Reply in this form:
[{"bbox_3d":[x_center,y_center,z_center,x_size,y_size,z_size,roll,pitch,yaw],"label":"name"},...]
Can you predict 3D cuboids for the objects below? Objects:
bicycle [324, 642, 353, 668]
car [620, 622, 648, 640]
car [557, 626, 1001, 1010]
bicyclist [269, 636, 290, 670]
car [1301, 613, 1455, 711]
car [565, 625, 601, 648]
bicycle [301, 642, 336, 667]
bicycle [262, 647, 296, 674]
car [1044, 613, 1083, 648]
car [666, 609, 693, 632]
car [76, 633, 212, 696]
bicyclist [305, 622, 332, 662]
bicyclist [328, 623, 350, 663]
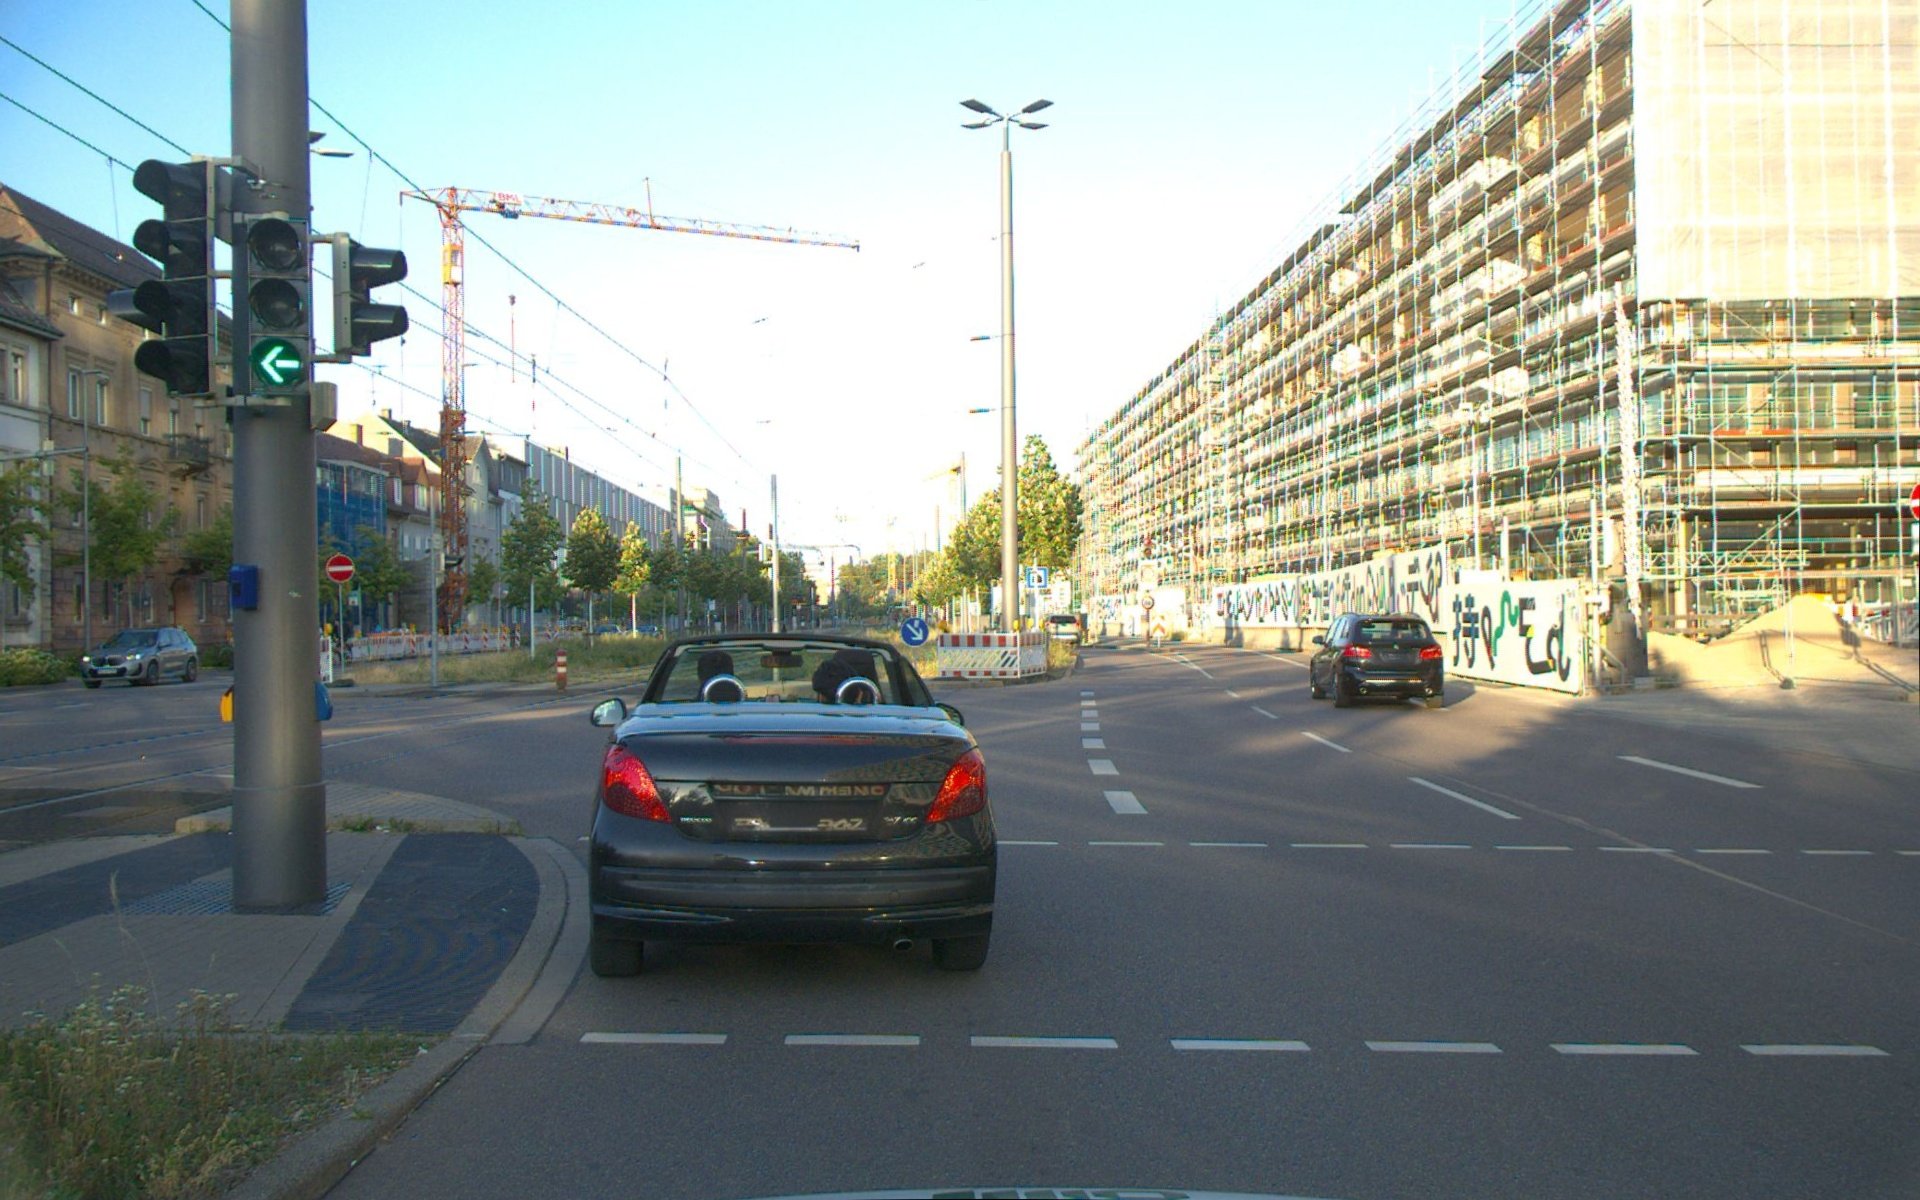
[{"bbox_3d":[-24.774,2.187,65.935,0.578,0.992,1.555,1,0,-1],"label":"bicycle"},{"bbox_3d":[-28.275,2.702,143.491,1.624,1.456,3.894,1,0,-1],"label":"car"},{"bbox_3d":[-0.688,0.841,8.143,1.640,1.376,3.999,0,0,-1],"label":"car"},{"bbox_3d":[-26.275,2.056,63.880,0.577,1.289,0.460,1,-1,3],"label":"bicyclist"},{"bbox_3d":[7.173,1.012,28.814,1.782,1.545,4.793,0,0,4],"label":"car"},{"bbox_3d":[-25.822,2.503,113.322,1.624,1.456,3.894,1,0,-1],"label":"car"},{"bbox_3d":[-25.827,2.179,66.592,0.756,0.961,1.639,1,0,-1],"label":"bicycle"},{"bbox_3d":[-26.282,2.338,63.876,0.577,1.006,1.557,1,0,4],"label":"bicycle"},{"bbox_3d":[5.188,1.507,83.174,1.796,1.702,4.283,0,0,1],"label":"car"},{"bbox_3d":[-24.378,1.781,143.961,1.624,1.998,4.265,1,0,-1],"label":"car"},{"bbox_3d":[-23.528,1.827,47.876,1.953,1.608,4.122,-2,0,-2],"label":"car"},{"bbox_3d":[-25.816,1.689,66.594,0.756,1.598,0.792,1,-1,-2],"label":"bicyclist"},{"bbox_3d":[-24.765,1.712,65.940,0.578,1.597,0.710,1,-1,-2],"label":"bicyclist"}]
